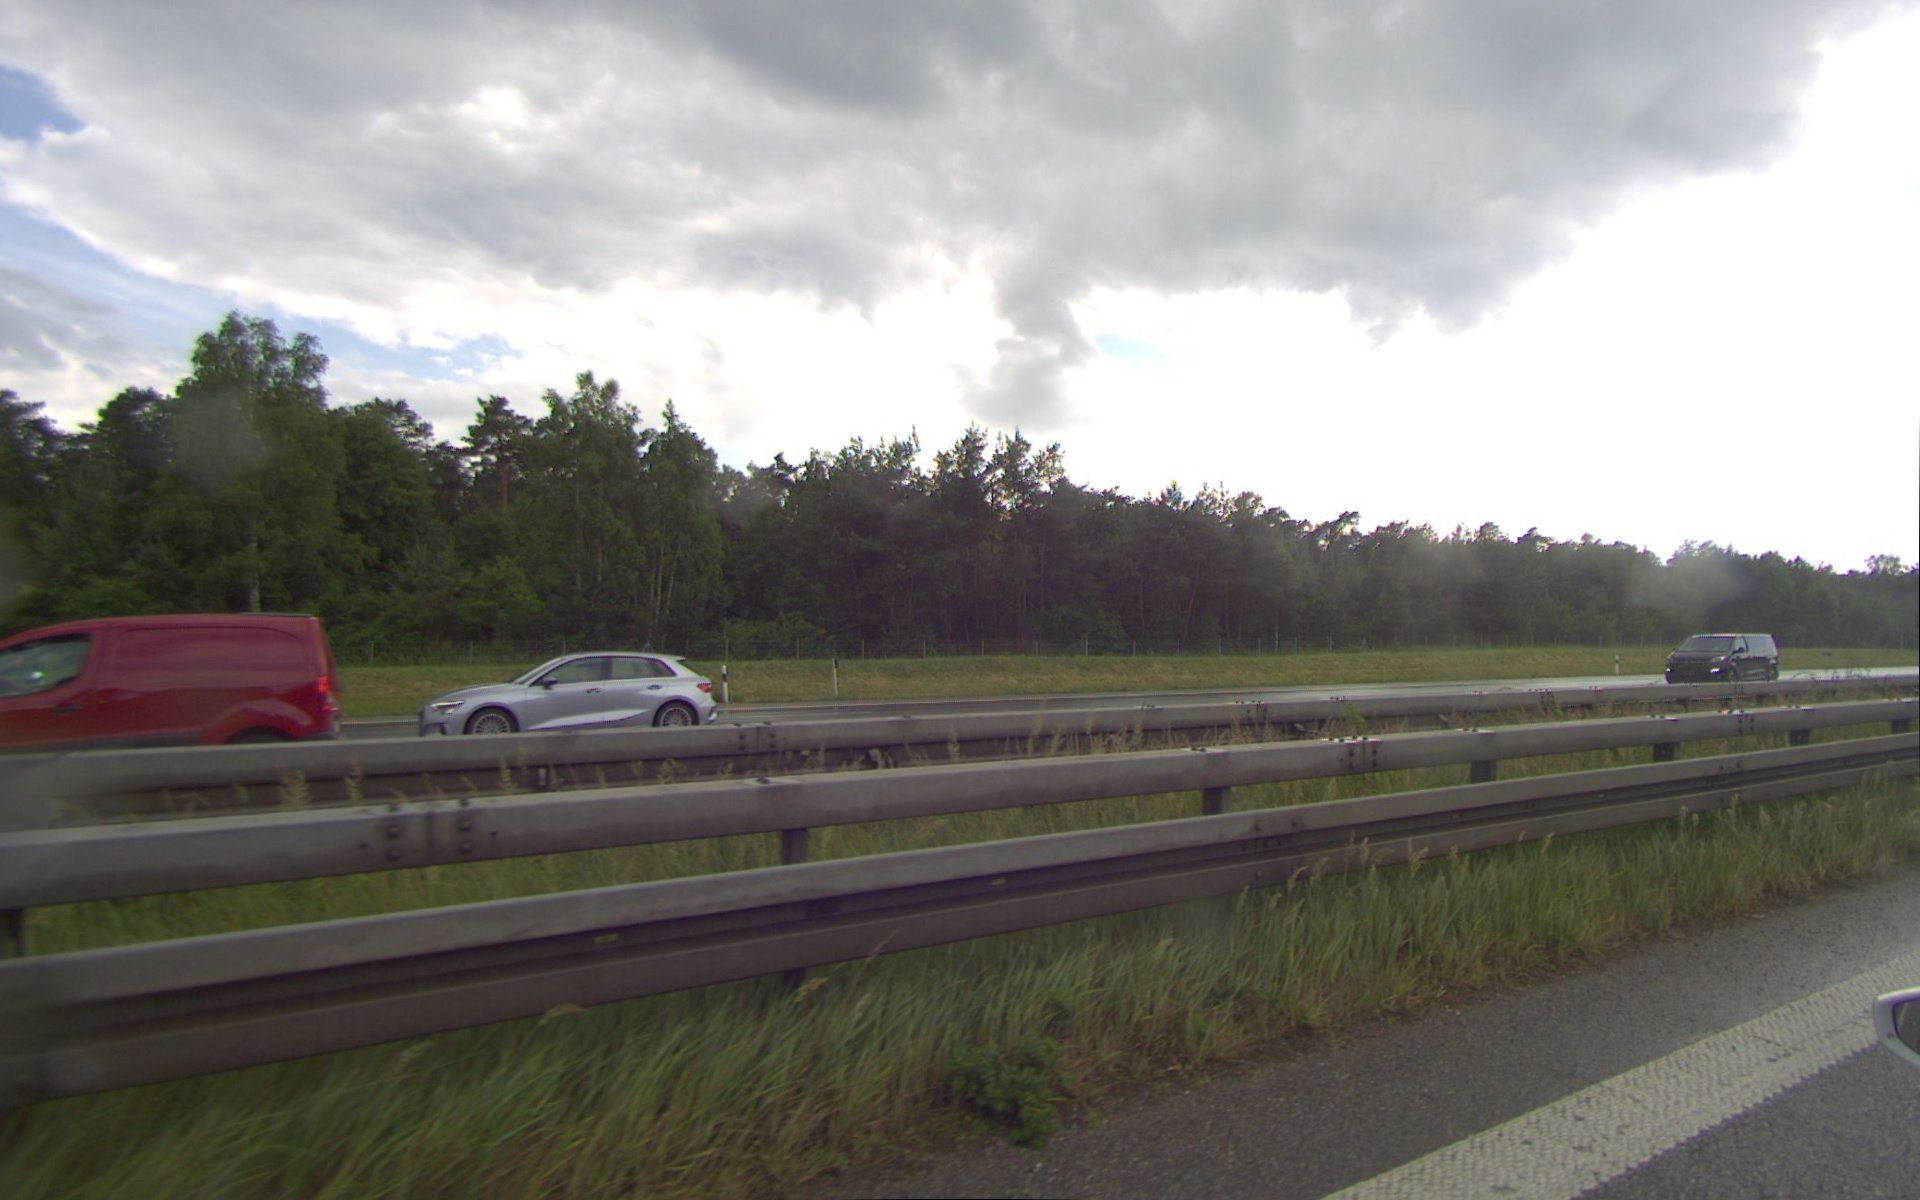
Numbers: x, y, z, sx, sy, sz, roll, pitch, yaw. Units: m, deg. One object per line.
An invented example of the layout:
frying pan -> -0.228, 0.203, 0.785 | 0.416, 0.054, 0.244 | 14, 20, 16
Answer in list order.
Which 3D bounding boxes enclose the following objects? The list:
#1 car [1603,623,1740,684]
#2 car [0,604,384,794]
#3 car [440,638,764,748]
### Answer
car -> 23.938, 1.793, 33.759 | 4.669, 1.941, 1.984 | 1, -4, -31
car -> -8.258, 0.867, 9.792 | 4.555, 1.631, 1.984 | 1, -1, -30
car -> -5.595, 1.374, 15.852 | 4.555, 1.520, 1.985 | 1, -3, -30
